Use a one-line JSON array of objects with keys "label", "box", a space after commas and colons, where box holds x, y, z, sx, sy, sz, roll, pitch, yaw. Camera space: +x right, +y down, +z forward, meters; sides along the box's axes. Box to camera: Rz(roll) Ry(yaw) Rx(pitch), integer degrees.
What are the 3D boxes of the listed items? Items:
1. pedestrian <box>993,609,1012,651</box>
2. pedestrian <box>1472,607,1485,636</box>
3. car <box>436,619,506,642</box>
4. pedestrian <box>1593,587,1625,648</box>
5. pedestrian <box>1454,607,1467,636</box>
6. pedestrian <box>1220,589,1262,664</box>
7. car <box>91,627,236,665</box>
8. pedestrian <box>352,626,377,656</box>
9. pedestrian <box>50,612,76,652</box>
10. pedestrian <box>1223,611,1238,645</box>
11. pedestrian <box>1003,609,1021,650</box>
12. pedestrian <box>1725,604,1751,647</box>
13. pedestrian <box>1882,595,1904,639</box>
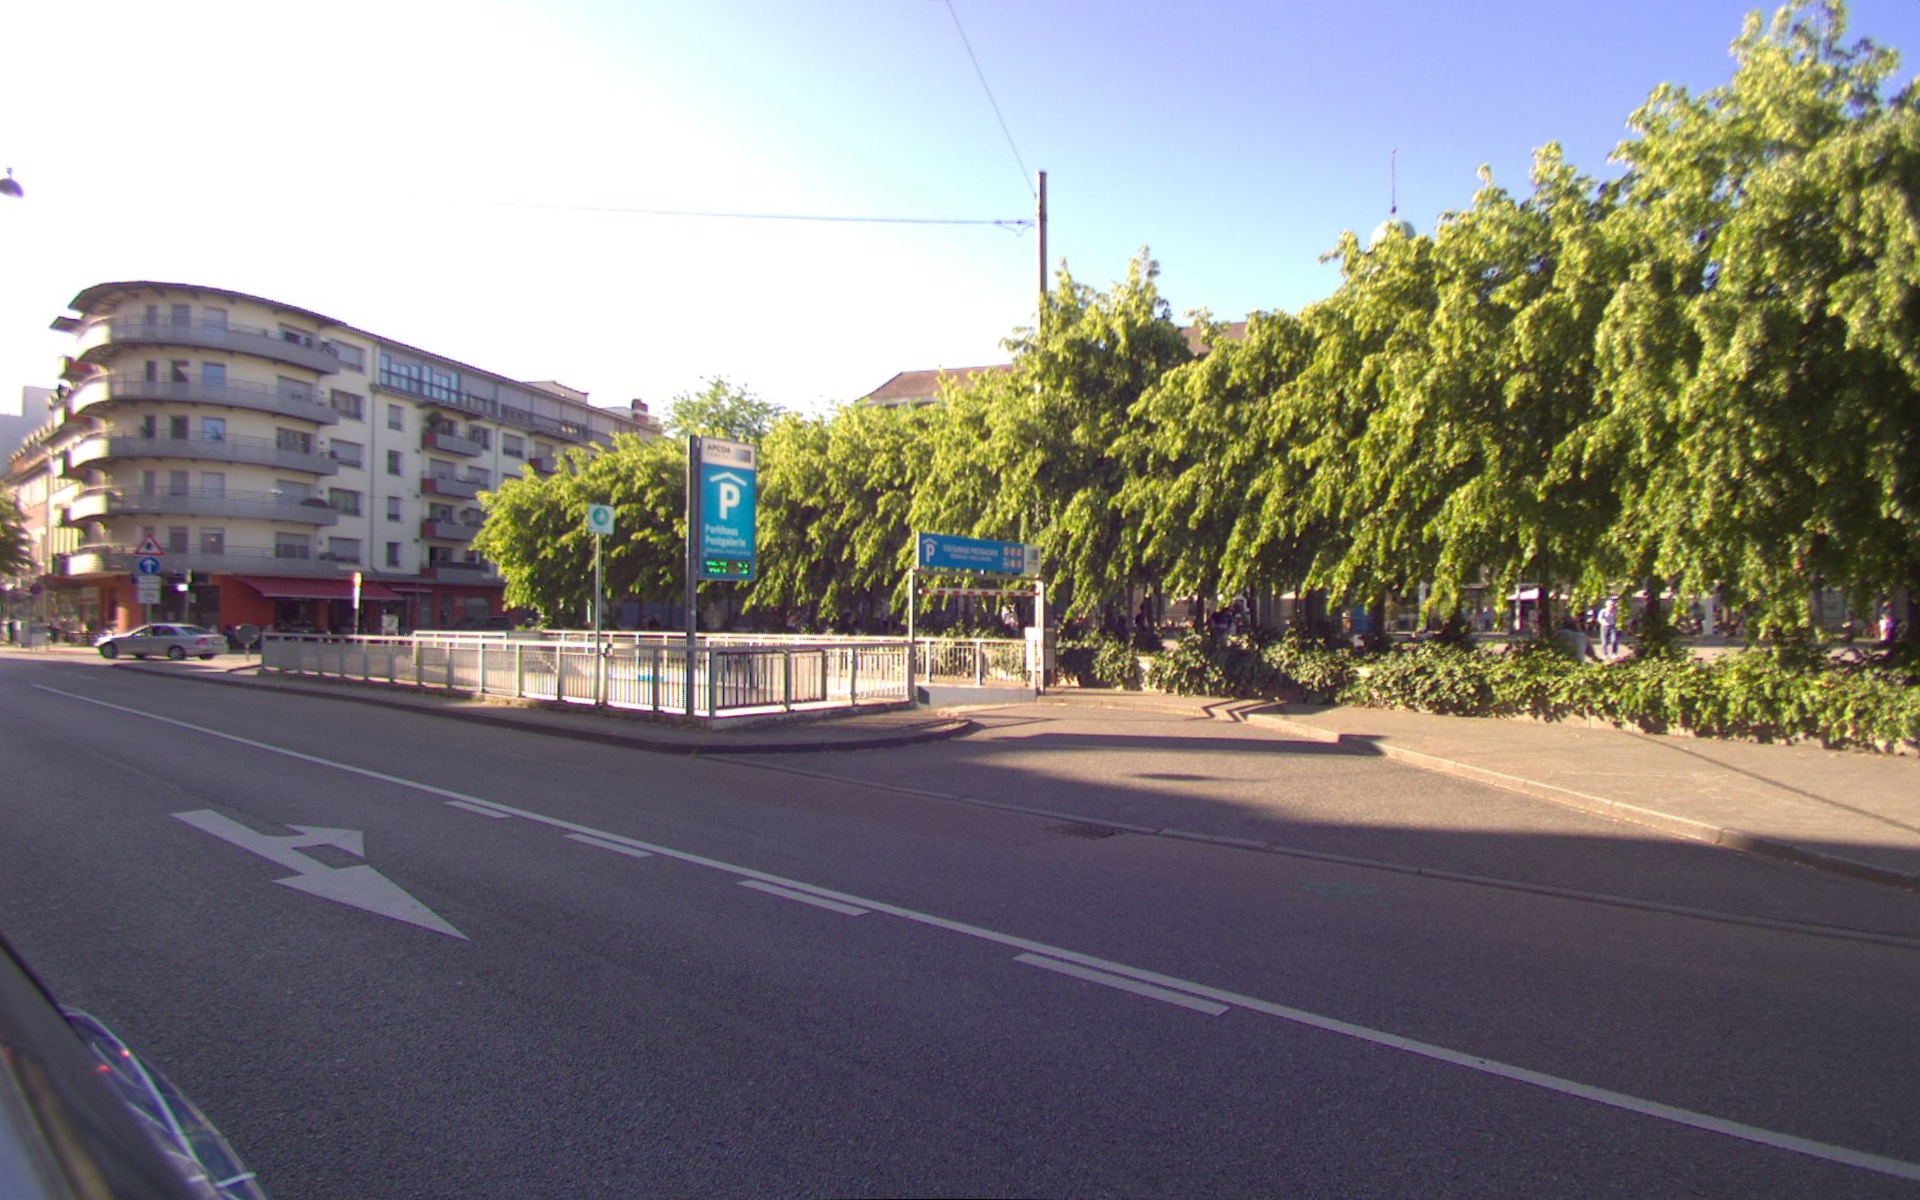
[{"label": "pedestrian", "box": [1.768, 1.238, 42.263, 0.604, 1.734, 0.642, -1, 0, 21]}, {"label": "pedestrian", "box": [30.603, 1.266, 59.736, 0.643, 1.734, 0.603, -1, 0, 26]}, {"label": "car", "box": [-30.505, 1.887, 63.222, 1.742, 1.311, 3.977, -1, -1, 17]}, {"label": "pedestrian", "box": [18.761, 0.505, 29.267, 0.643, 1.734, 0.604, -1, 0, 22]}, {"label": "pedestrian", "box": [30.192, 1.294, 61.027, 0.643, 1.734, 0.603, -1, 0, 26]}, {"label": "pedestrian", "box": [6.279, 0.580, 22.632, 0.645, 1.661, 0.626, -1, 0, -35]}, {"label": "car", "box": [-31.378, 1.806, 39.965, 4.204, 1.363, 1.825, 2, -2, -1]}, {"label": "pedestrian", "box": [-32.547, 2.221, 55.329, 0.877, 1.607, 0.861, -1, 0, 2]}, {"label": "pedestrian", "box": [-46.769, 1.672, 52.765, 0.888, 2.029, 0.850, -1, 0, 40]}, {"label": "pedestrian", "box": [13.941, 1.460, 52.171, 0.606, 1.734, 0.640, -1, 0, 31]}, {"label": "pedestrian", "box": [2.210, 1.251, 42.898, 0.604, 1.734, 0.642, -1, 0, 21]}, {"label": "pedestrian", "box": [31.607, 1.038, 41.114, 0.641, 1.734, 0.605, -1, 0, 18]}, {"label": "pedestrian", "box": [42.177, 0.753, 45.757, 0.676, 1.963, 0.632, -1, 0, 38]}]
